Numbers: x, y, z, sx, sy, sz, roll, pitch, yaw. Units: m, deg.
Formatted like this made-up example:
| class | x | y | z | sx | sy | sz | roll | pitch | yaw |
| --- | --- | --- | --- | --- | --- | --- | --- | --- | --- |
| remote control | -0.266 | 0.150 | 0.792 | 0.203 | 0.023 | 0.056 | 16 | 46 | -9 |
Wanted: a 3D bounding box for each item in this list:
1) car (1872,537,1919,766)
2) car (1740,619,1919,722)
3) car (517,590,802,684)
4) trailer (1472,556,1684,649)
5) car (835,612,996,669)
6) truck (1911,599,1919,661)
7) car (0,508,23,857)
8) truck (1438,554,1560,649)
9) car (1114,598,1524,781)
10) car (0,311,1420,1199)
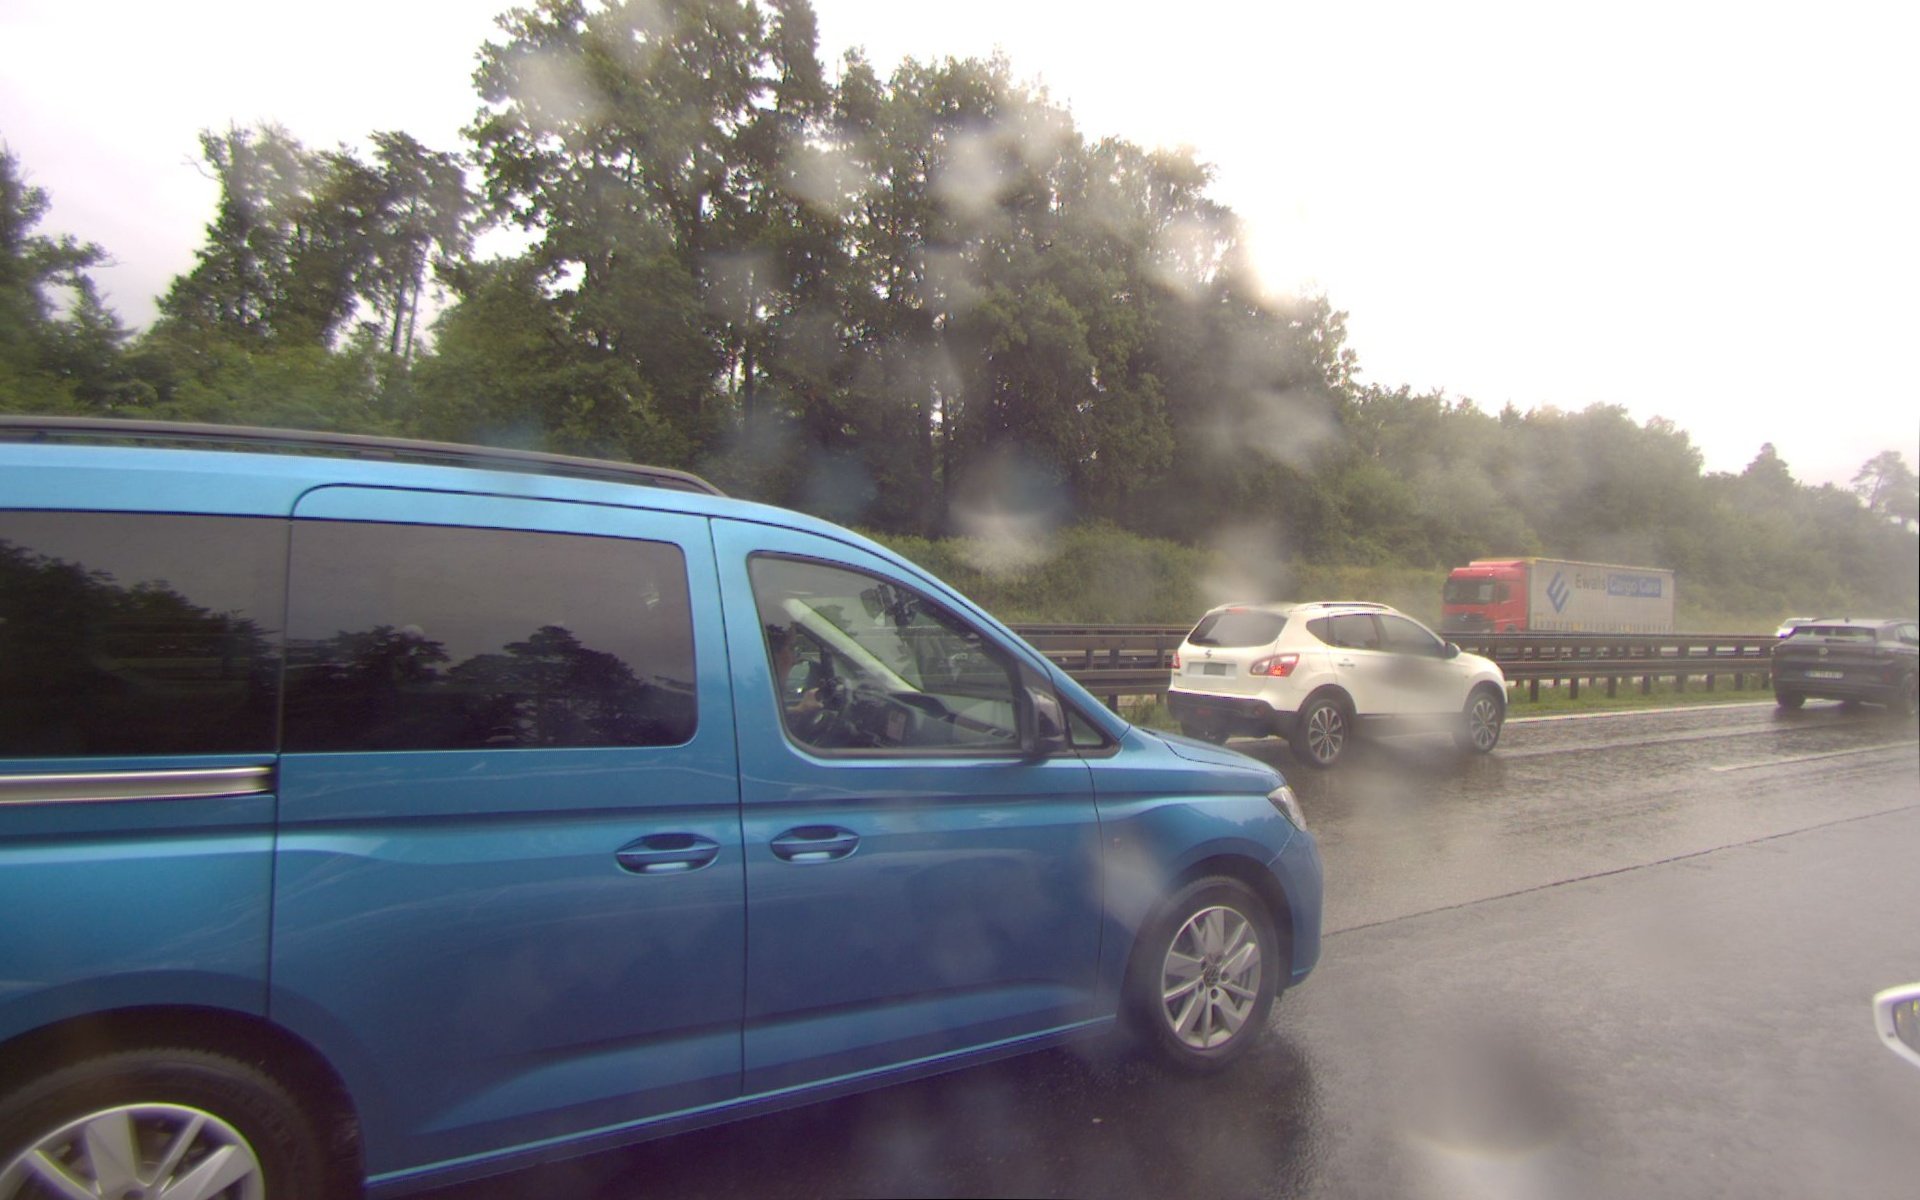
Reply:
| class | x | y | z | sx | sy | sz | roll | pitch | yaw |
| --- | --- | --- | --- | --- | --- | --- | --- | --- | --- |
| car | 13.436 | 0.632 | 12.057 | 4.954 | 2.607 | 2.203 | 1 | 0 | -29 |
| car | 16.233 | 1.191 | 18.199 | 4.414 | 1.613 | 1.836 | 1 | 0 | -31 |
| car | -5.439 | 0.640 | 18.365 | 4.655 | 1.527 | 1.983 | 1 | -1 | -32 |
| trailer | 29.999 | 0.288 | 48.336 | 13.800 | 4.006 | 2.706 | 2 | -2 | -31 |
| car | -1.109 | 1.000 | 25.431 | 3.712 | 1.322 | 1.693 | 1 | 0 | -30 |
| truck | 65.449 | 2.011 | 66.227 | 6.462 | 4.006 | 2.365 | 1 | -1 | -31 |
| car | -7.318 | 0.418 | 3.764 | 5.179 | 1.970 | 1.982 | 2 | 0 | -29 |
| truck | 23.984 | 0.126 | 44.690 | 4.834 | 4.006 | 2.691 | 1 | -2 | -31 |
| car | 3.972 | 0.832 | 10.920 | 4.416 | 1.613 | 1.836 | 1 | 0 | -31 |
| car | -1.100 | 0.500 | 3.254 | 4.956 | 1.937 | 2.259 | 1 | 0 | -30 |
